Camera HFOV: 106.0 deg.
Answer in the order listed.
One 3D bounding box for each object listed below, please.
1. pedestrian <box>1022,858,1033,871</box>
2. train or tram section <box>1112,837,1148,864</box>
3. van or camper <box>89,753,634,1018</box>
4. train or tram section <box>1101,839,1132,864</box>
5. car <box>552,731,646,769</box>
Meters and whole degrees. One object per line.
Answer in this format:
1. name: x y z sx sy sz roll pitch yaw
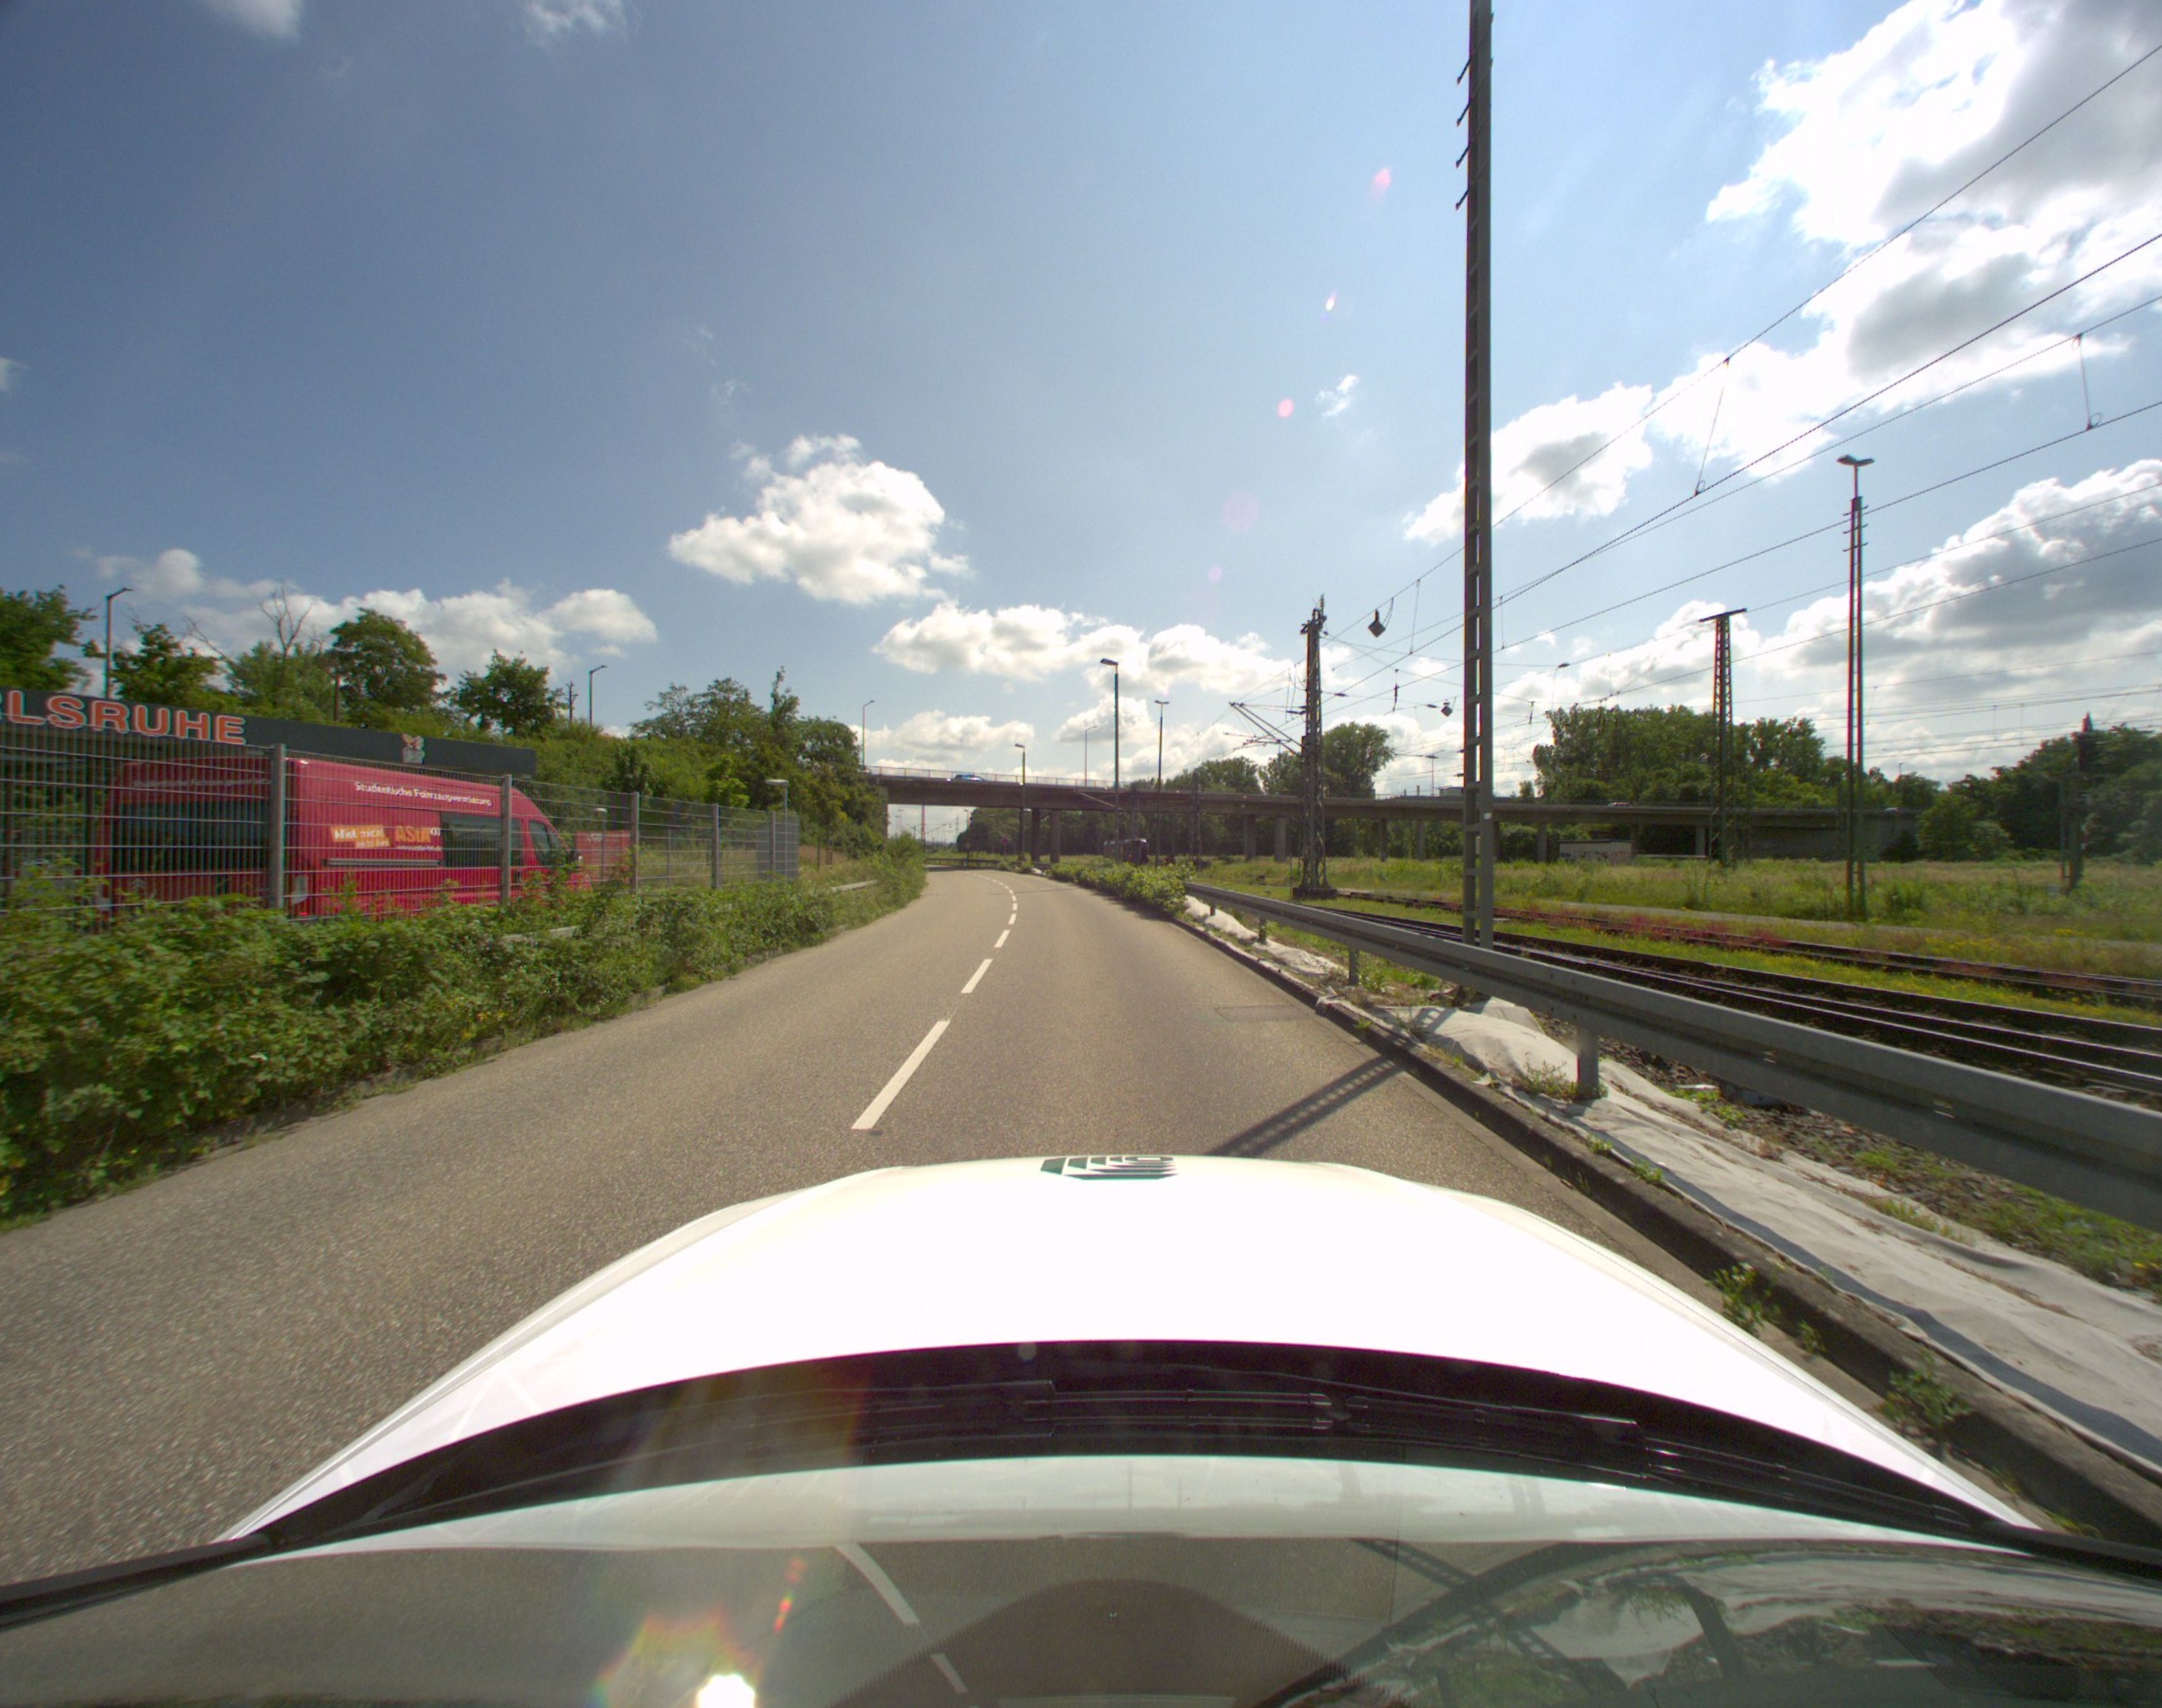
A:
1. pedestrian: -6.396 1.286 97.017 1.111 1.540 1.572 0 -1 -13
2. train or tram section: 6.497 -0.391 109.555 2.891 3.509 8.534 0 -1 -10
3. van or camper: -8.629 0.304 10.859 2.182 2.514 5.699 -2 0 -1
4. train or tram section: 5.082 -0.357 117.879 2.756 3.477 8.209 0 -1 -10
5. car: -33.954 -7.296 57.514 1.974 2.014 5.370 -3 -1 40
